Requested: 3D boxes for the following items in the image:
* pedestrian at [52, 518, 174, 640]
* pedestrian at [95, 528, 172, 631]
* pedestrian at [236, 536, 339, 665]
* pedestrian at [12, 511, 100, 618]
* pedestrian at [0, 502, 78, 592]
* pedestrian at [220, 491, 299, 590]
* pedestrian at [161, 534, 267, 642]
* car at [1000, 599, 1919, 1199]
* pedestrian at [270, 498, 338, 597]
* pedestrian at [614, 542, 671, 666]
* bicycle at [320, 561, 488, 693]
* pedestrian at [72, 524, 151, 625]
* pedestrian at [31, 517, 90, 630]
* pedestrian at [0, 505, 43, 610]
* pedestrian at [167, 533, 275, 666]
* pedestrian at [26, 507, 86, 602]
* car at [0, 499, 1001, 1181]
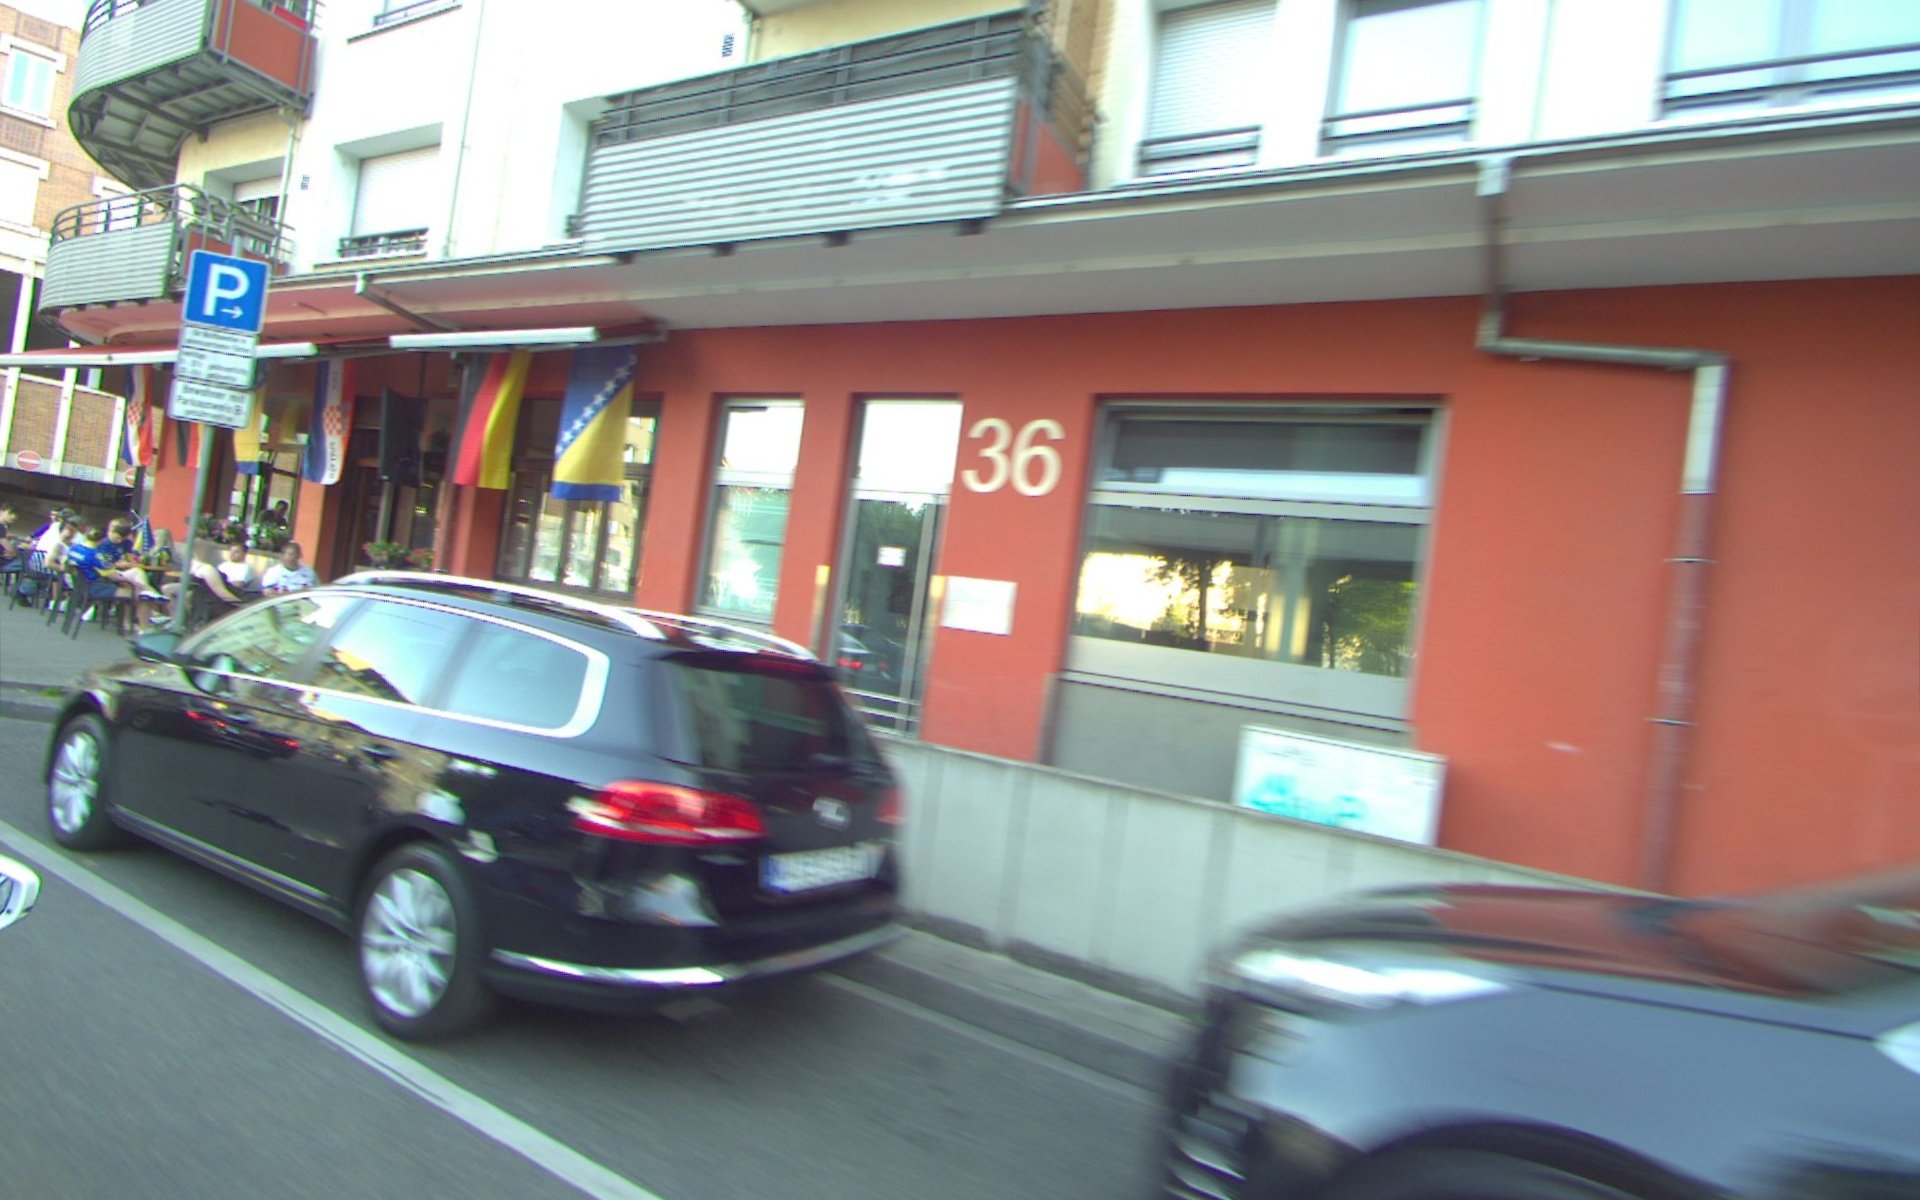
[{"bbox_3d":[-9.473,-0.216,11.264,0.483,1.273,0.859,7,2,30],"label":"pedestrian"},{"bbox_3d":[-10.280,-0.253,12.527,0.529,1.217,0.417,6,2,-13],"label":"pedestrian"},{"bbox_3d":[-7.662,0.014,11.469,0.684,1.364,0.607,7,0,29],"label":"pedestrian"},{"bbox_3d":[-11.678,-0.451,13.012,0.502,1.293,0.627,6,2,-7],"label":"pedestrian"},{"bbox_3d":[-14.555,-0.826,15.892,0.611,1.294,0.697,8,0,-23],"label":"pedestrian"},{"bbox_3d":[-12.717,-1.066,18.288,0.675,1.625,0.716,8,-2,4],"label":"pedestrian"},{"bbox_3d":[-9.311,-0.145,12.565,0.702,1.239,0.780,7,2,30],"label":"pedestrian"},{"bbox_3d":[2.595,1.208,1.715,4.709,1.659,1.771,8,-4,30],"label":"car"},{"bbox_3d":[-11.711,-0.929,17.976,0.598,1.625,0.534,8,-2,9],"label":"pedestrian"},{"bbox_3d":[-4.501,0.069,14.269,0.420,1.679,0.431,8,-2,-1],"label":"pedestrian"},{"bbox_3d":[-5.728,0.267,10.342,1.712,1.168,0.536,5,-1,26],"label":"bicycle"},{"bbox_3d":[-10.862,-0.327,12.890,0.560,1.217,0.417,6,2,-12],"label":"pedestrian"},{"bbox_3d":[-10.592,-0.312,11.848,0.339,1.273,0.358,6,2,-22],"label":"pedestrian"},{"bbox_3d":[-12.376,-0.553,13.078,0.411,1.320,0.491,7,2,30],"label":"pedestrian"},{"bbox_3d":[-7.773,-0.001,10.587,0.600,1.302,0.686,7,0,39],"label":"pedestrian"},{"bbox_3d":[-13.198,-0.664,14.686,0.514,1.292,0.489,8,0,43],"label":"pedestrian"},{"bbox_3d":[-2.383,0.630,4.620,4.709,1.518,1.771,7,-4,31],"label":"car"}]
